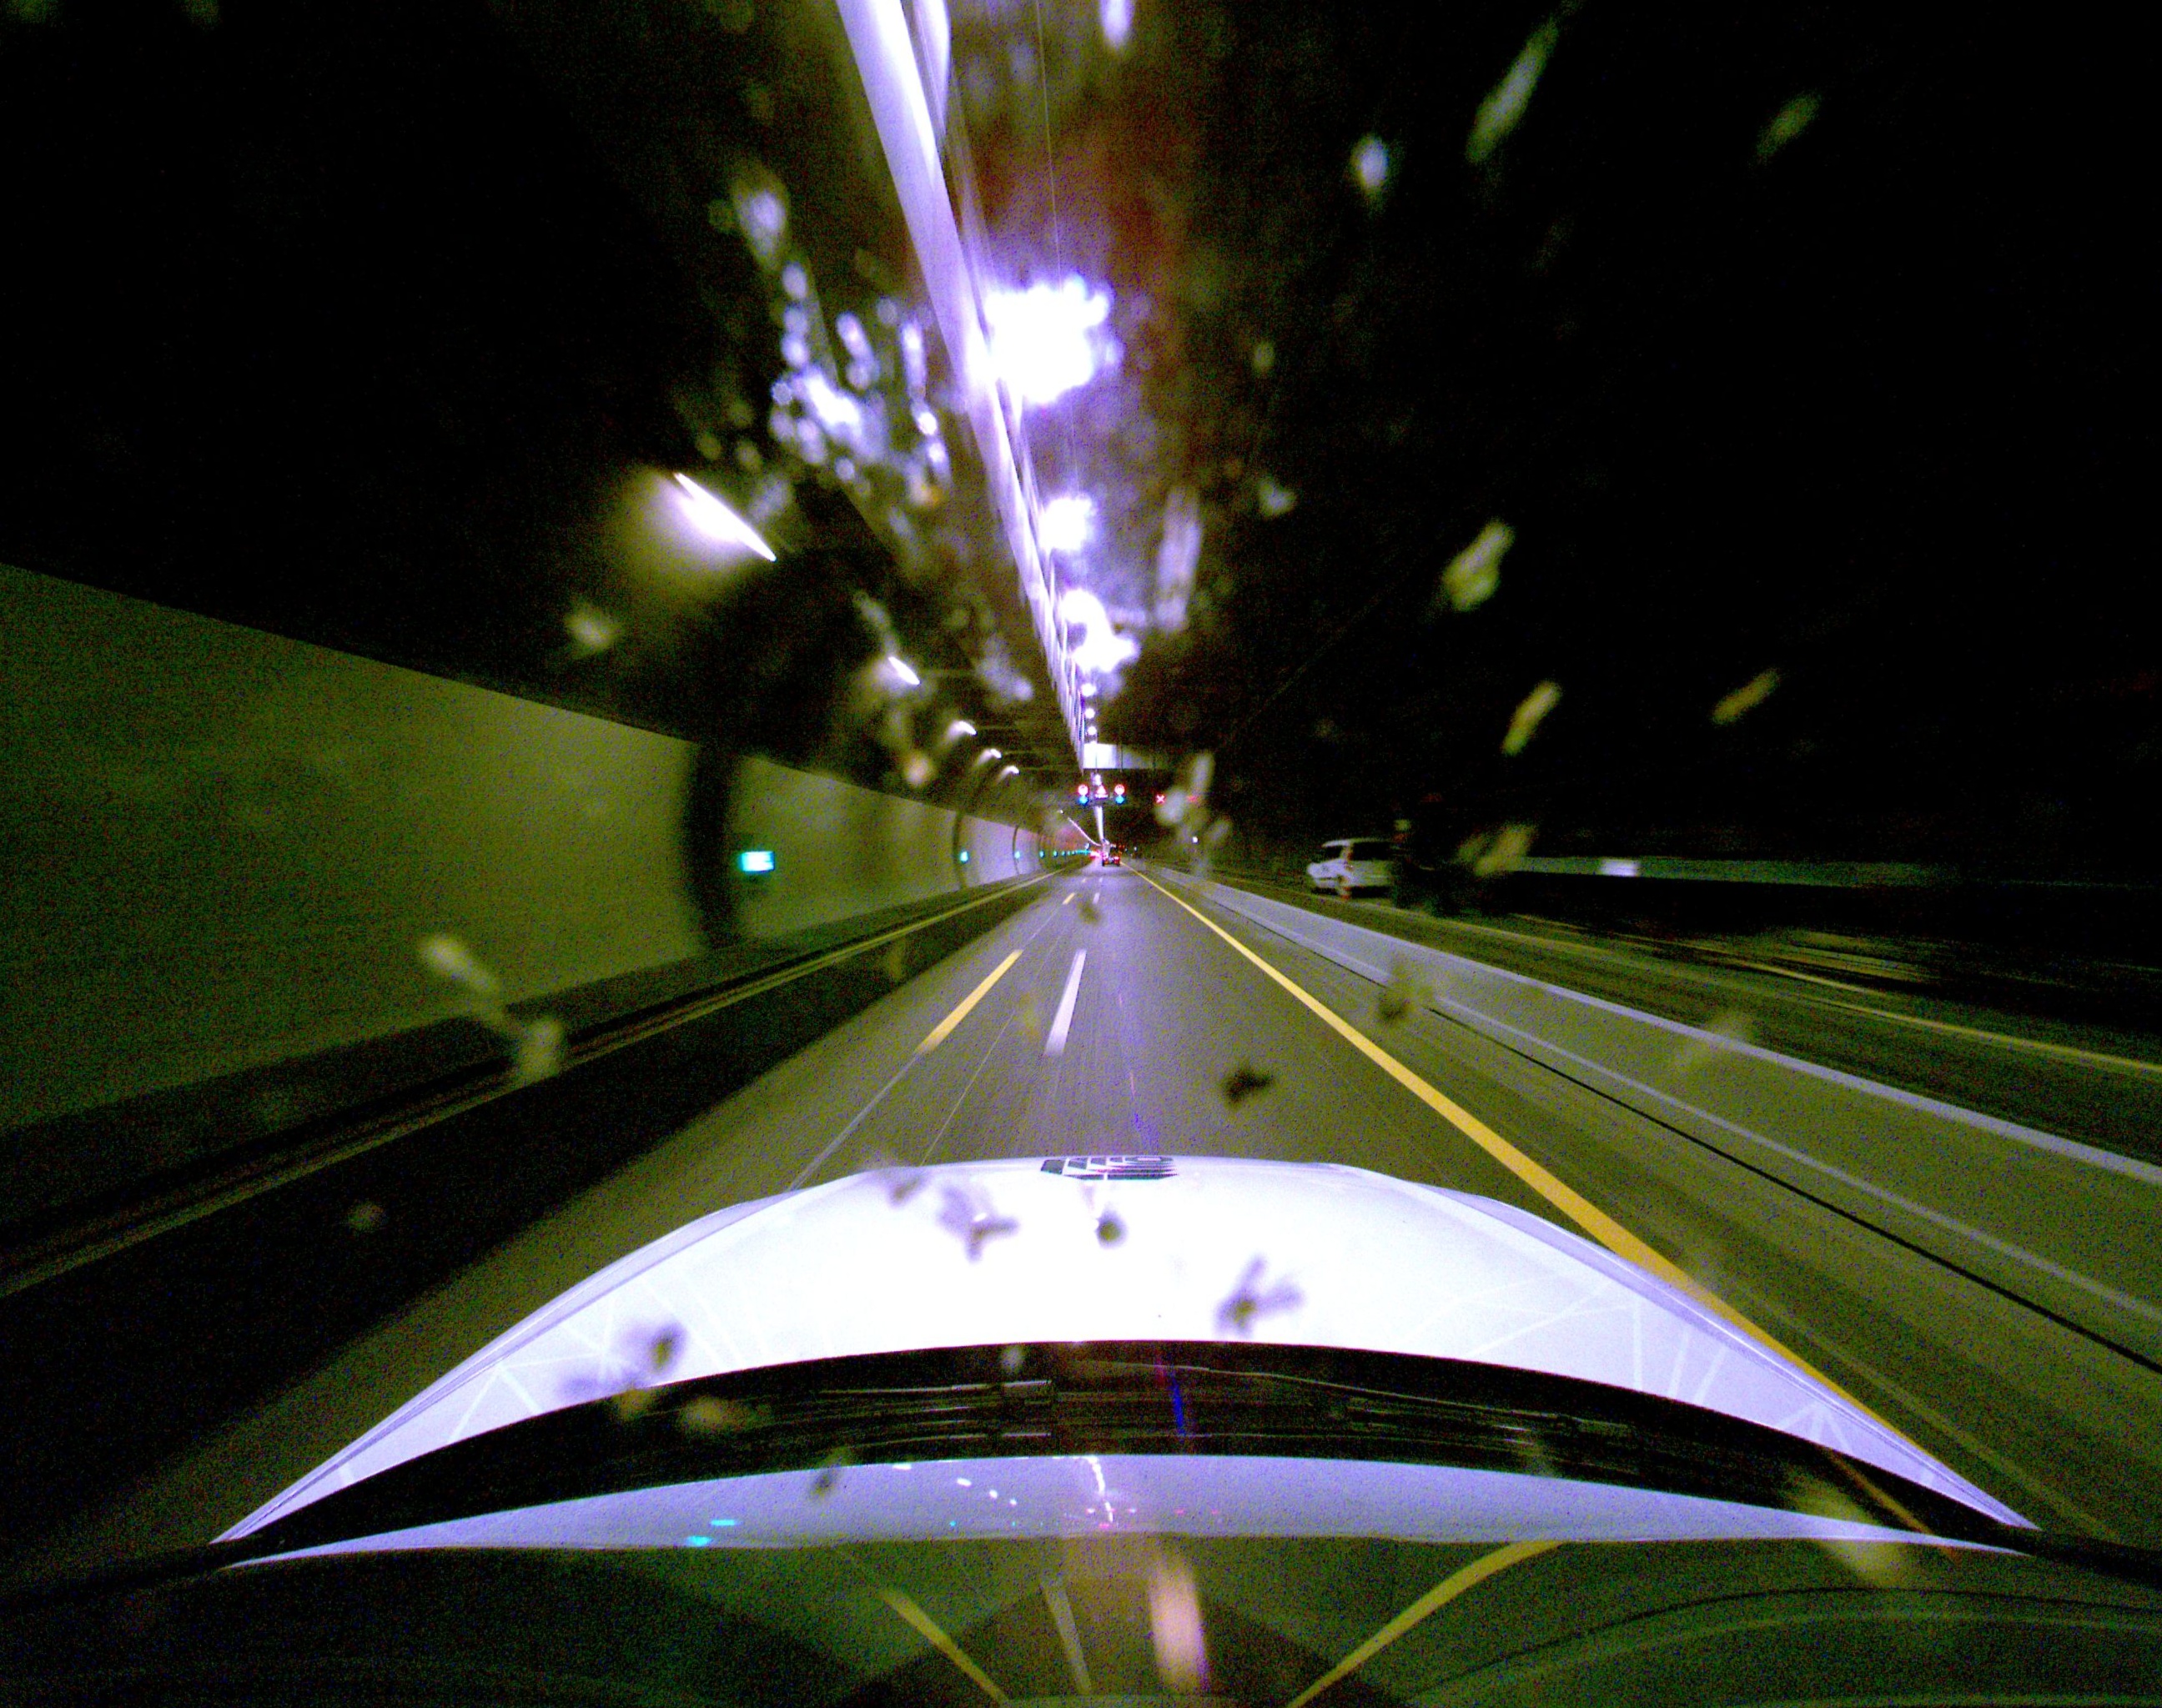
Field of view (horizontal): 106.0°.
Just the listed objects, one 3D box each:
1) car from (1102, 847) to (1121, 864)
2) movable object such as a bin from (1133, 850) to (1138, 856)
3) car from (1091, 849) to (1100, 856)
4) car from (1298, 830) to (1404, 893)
[{"bbox_3d":[3.205,0.132,86.013,1.939,1.794,4.002,-1,0,2],"label":"car"},{"bbox_3d":[15.261,-0.303,229.396,1.230,1.442,2.217,1,0,1],"label":"movable object such as a bin"},{"bbox_3d":[3.384,-0.353,192.069,1.923,1.687,4.002,-1,0,2],"label":"car"},{"bbox_3d":[8.839,0.205,27.094,1.747,1.845,4.641,-2,0,-2],"label":"car"}]
